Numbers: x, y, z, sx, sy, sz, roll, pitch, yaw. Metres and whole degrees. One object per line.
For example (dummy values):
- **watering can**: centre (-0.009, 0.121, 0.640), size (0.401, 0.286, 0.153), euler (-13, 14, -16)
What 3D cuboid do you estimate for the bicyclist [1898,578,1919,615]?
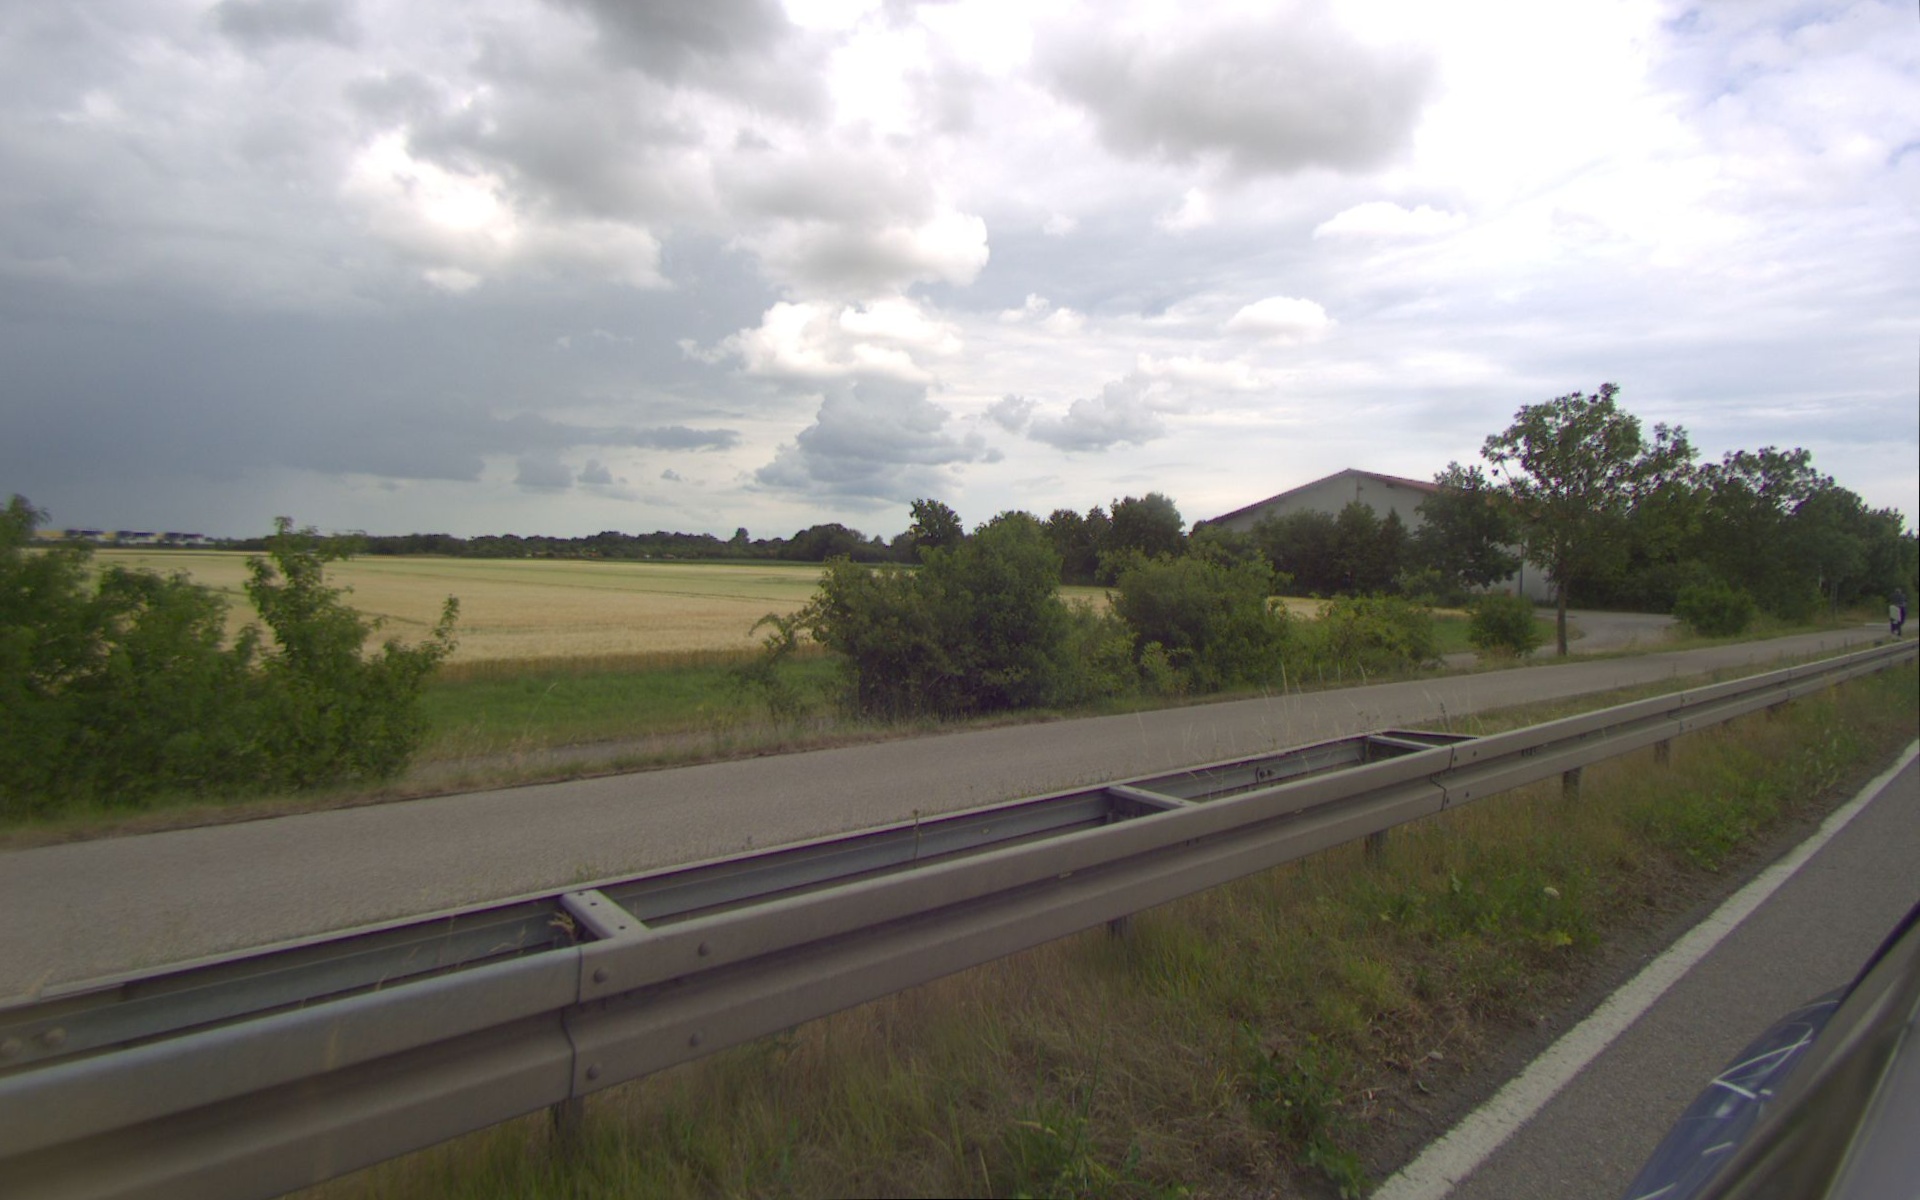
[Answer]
- **bicyclist**: centre (41.976, -0.178, 44.712), size (0.952, 1.602, 0.640), euler (0, 1, -41)

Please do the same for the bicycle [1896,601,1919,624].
- **bicycle**: centre (41.920, 0.541, 44.689), size (2.037, 0.990, 0.640), euler (0, 2, -41)
